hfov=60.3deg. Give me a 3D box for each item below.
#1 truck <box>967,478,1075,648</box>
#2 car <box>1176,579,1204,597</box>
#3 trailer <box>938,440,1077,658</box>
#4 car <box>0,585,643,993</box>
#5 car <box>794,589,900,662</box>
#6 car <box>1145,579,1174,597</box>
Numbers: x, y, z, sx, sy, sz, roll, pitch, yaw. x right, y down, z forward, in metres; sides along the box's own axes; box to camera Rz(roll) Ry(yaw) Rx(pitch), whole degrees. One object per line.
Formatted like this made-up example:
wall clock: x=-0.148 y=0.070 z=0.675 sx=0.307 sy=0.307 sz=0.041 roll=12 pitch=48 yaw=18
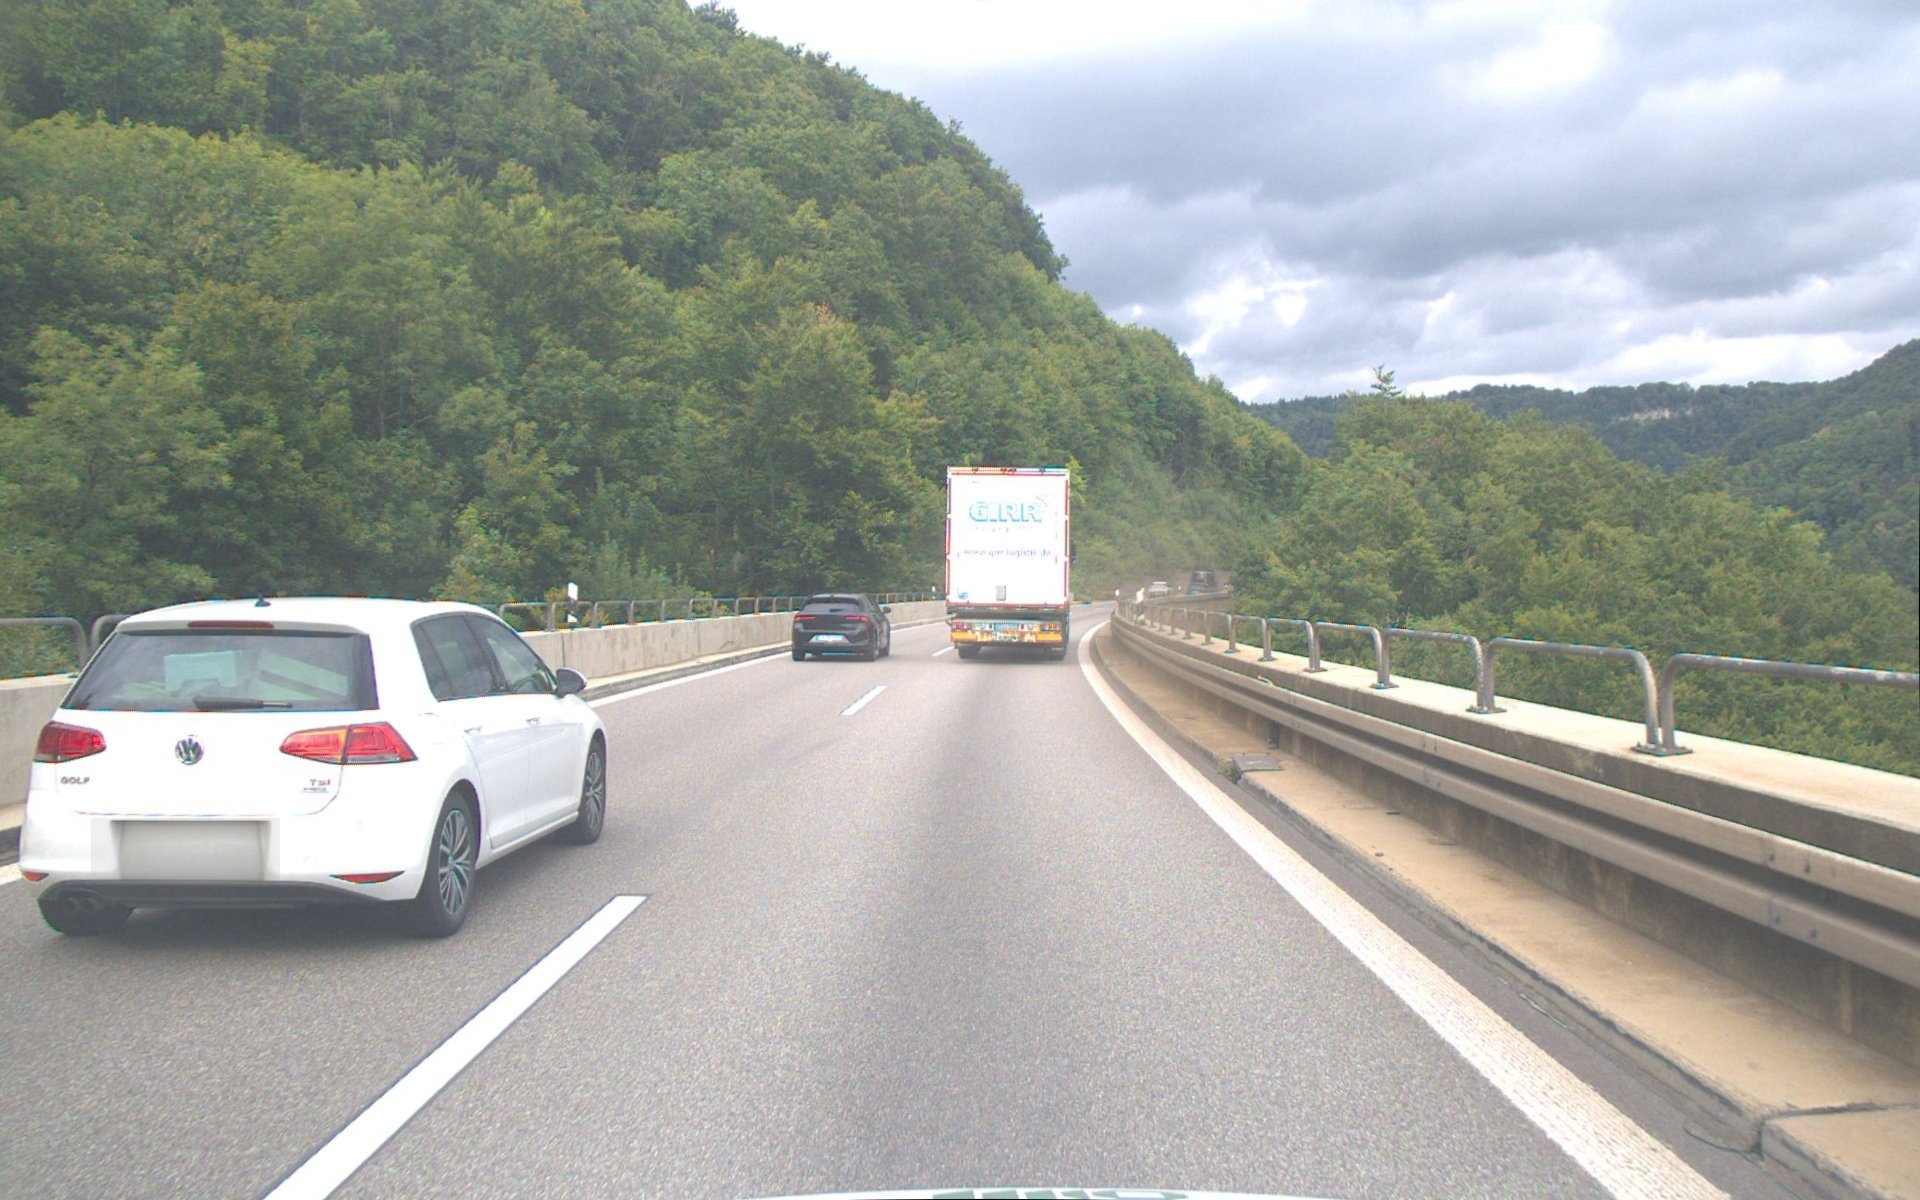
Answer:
truck: x=1.796 y=-0.945 z=46.080 sx=2.754 sy=4.378 sz=6.261 roll=-1 pitch=-1 yaw=4
car: x=21.574 y=-1.112 z=155.305 sx=1.951 sy=1.593 sz=4.002 roll=-1 pitch=-1 yaw=17
trailer: x=1.366 y=-0.993 z=39.647 sx=2.754 sy=4.378 sz=12.250 roll=-1 pitch=0 yaw=4
car: x=-2.999 y=0.692 z=8.487 sx=1.807 sy=1.507 sz=4.628 roll=1 pitch=0 yaw=0
car: x=-2.395 y=0.523 z=36.003 sx=1.736 sy=1.486 sz=4.583 roll=0 pitch=0 yaw=3
car: x=18.611 y=-1.120 z=154.190 sx=1.951 sy=1.593 sz=4.002 roll=-1 pitch=-1 yaw=17
